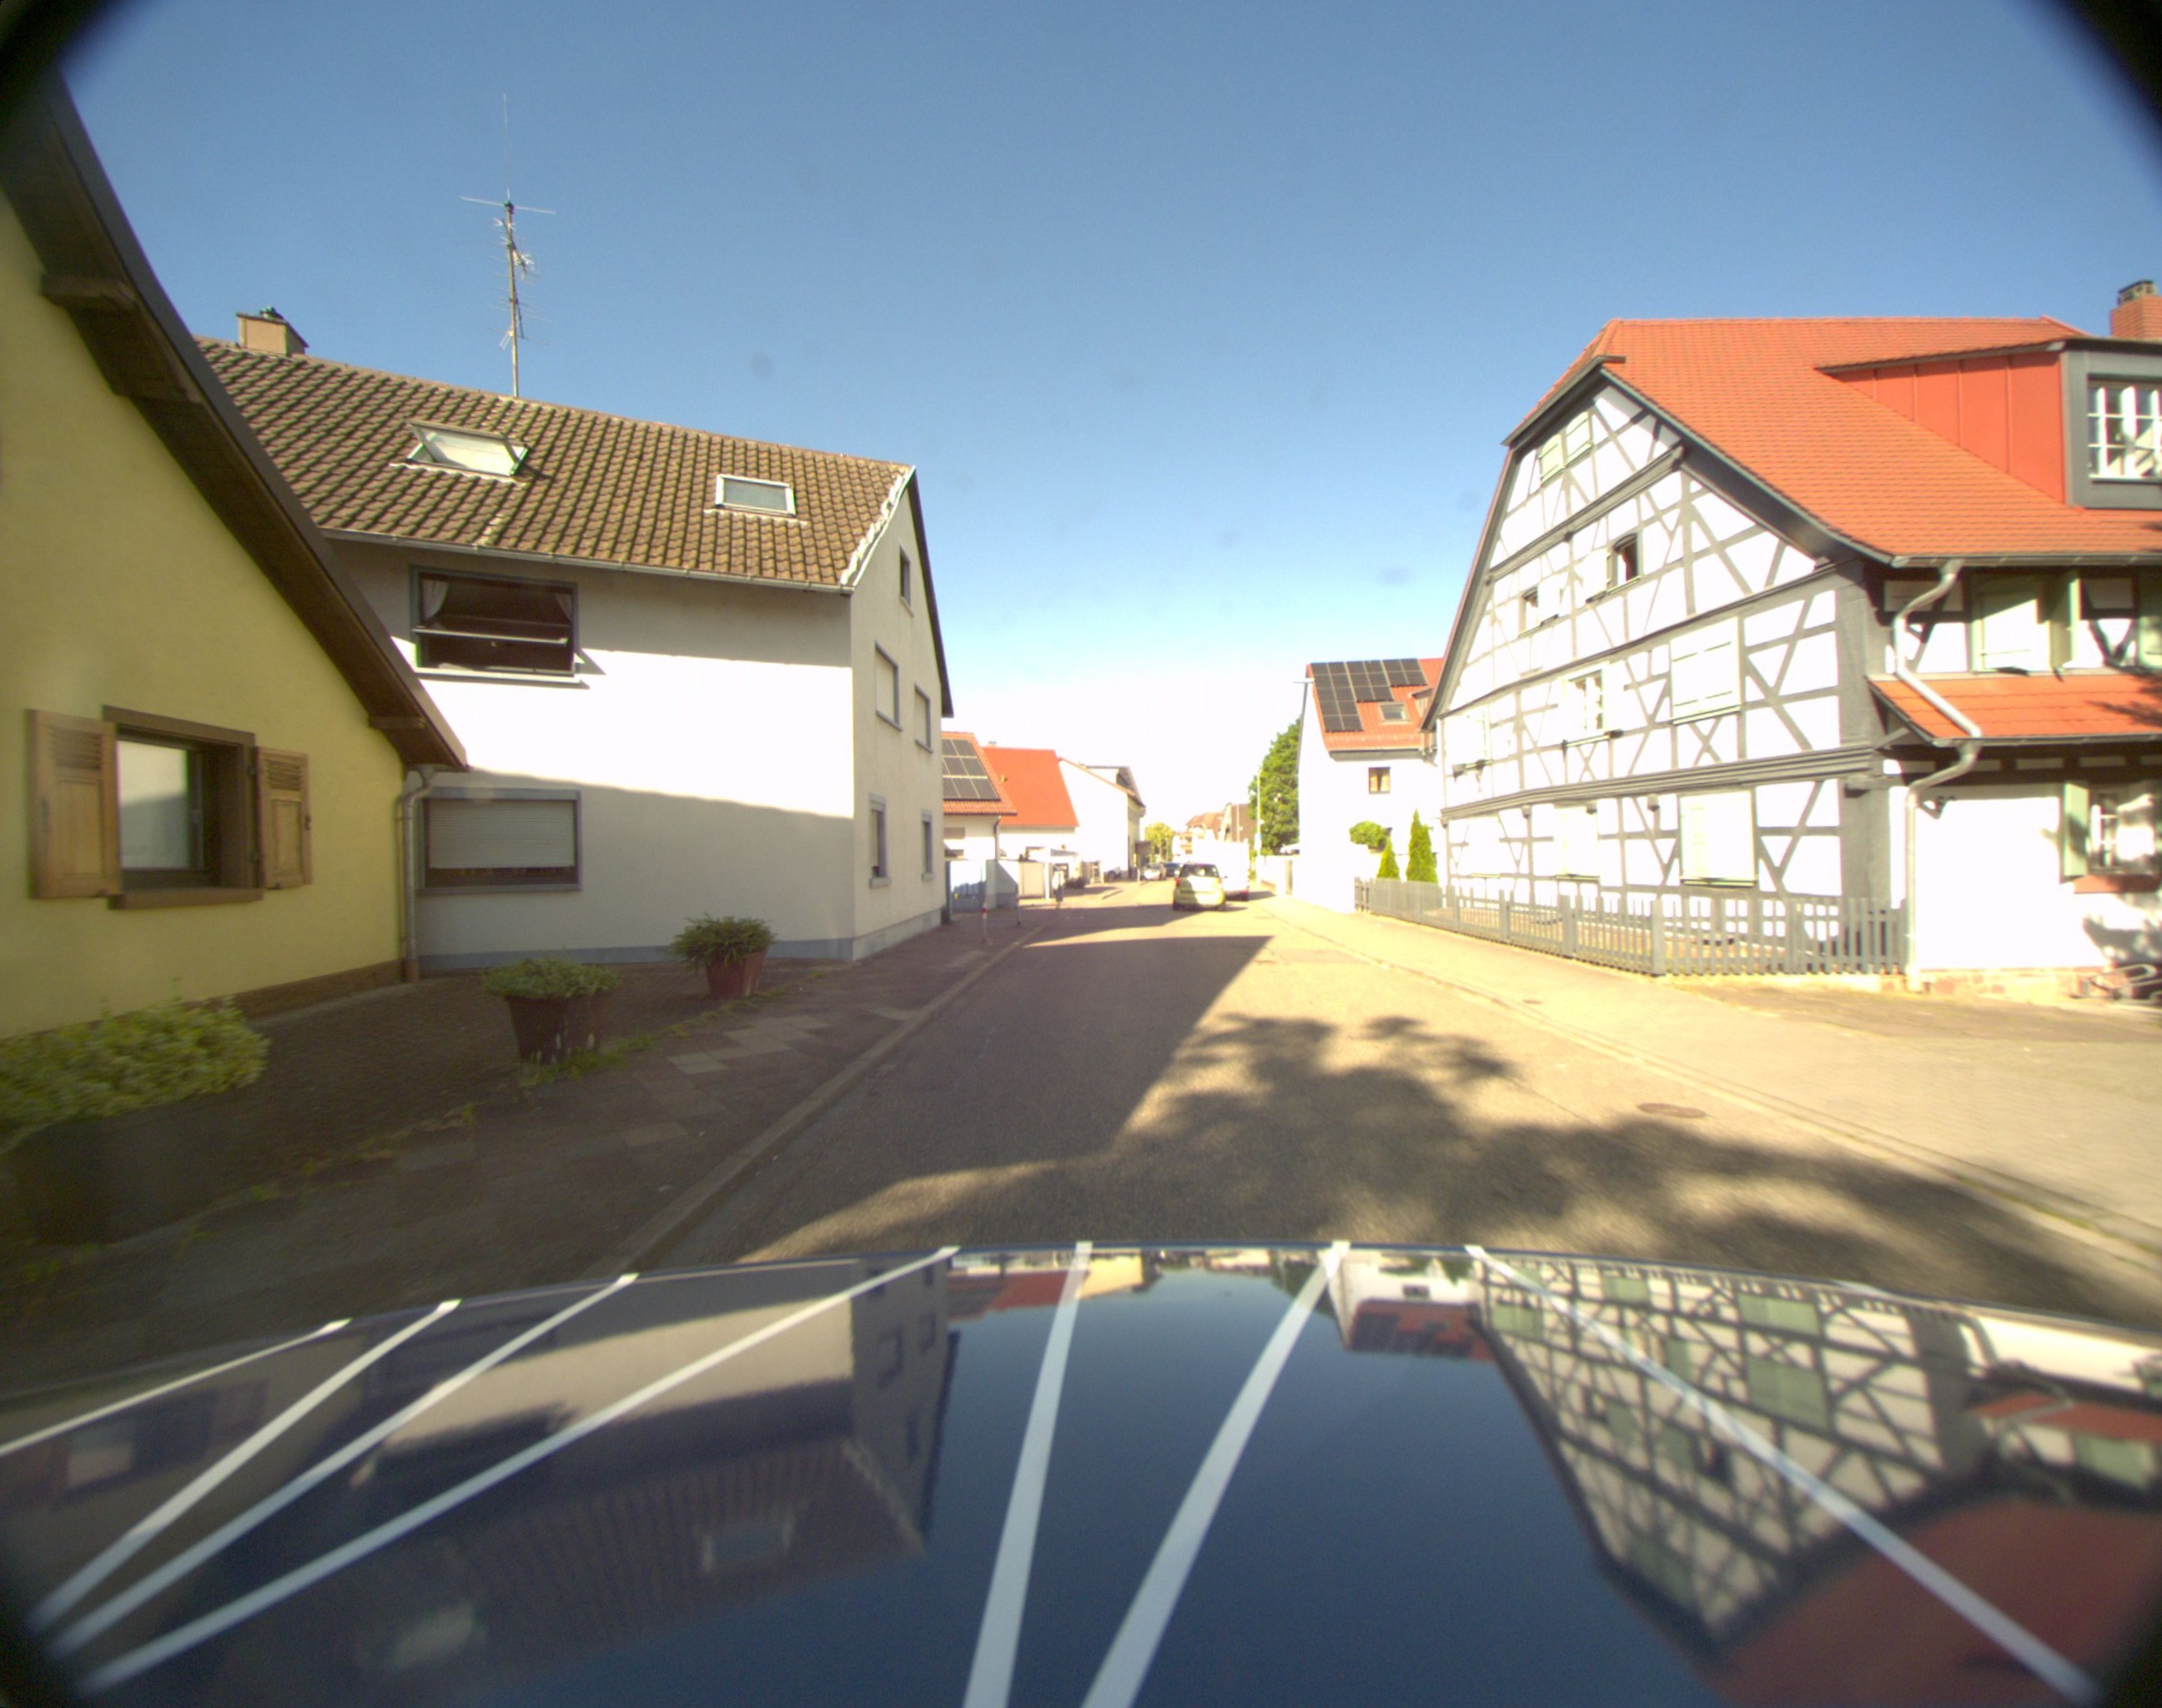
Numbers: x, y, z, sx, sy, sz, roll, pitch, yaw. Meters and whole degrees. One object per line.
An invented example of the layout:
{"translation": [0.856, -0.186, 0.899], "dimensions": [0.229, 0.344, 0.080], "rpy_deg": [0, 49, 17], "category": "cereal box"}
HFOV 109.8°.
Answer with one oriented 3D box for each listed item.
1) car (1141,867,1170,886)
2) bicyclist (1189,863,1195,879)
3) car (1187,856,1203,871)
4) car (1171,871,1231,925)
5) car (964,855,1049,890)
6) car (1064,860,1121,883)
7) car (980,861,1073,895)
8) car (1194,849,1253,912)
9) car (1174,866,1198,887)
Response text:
{"translation": [6.322, 1.878, 63.763], "dimensions": [1.814, 1.466, 4.665], "rpy_deg": [-1, 0, 13], "category": "car"}
{"translation": [12.070, 1.852, 82.776], "dimensions": [0.643, 1.655, 0.605], "rpy_deg": [0, 0, 6], "category": "bicyclist"}
{"translation": [18.957, 1.596, 126.593], "dimensions": [2.257, 2.456, 5.518], "rpy_deg": [0, 0, 5], "category": "car"}
{"translation": [3.913, 1.352, 24.455], "dimensions": [1.576, 1.537, 2.969], "rpy_deg": [1, 0, 15], "category": "car"}
{"translation": [-3.826, 0.928, 38.969], "dimensions": [4.052, 1.678, 1.909], "rpy_deg": [0, 0, -18], "category": "car"}
{"translation": [0.993, 1.515, 65.824], "dimensions": [4.774, 1.875, 1.908], "rpy_deg": [1, 0, 0], "category": "car"}
{"translation": [-2.518, 1.077, 35.451], "dimensions": [3.917, 1.483, 1.849], "rpy_deg": [0, 0, 18], "category": "car"}
{"translation": [5.953, 1.046, 32.146], "dimensions": [2.201, 2.375, 6.069], "rpy_deg": [0, -1, 9], "category": "car"}
{"translation": [8.589, 1.808, 61.984], "dimensions": [1.812, 1.466, 4.847], "rpy_deg": [-2, -1, 9], "category": "car"}
